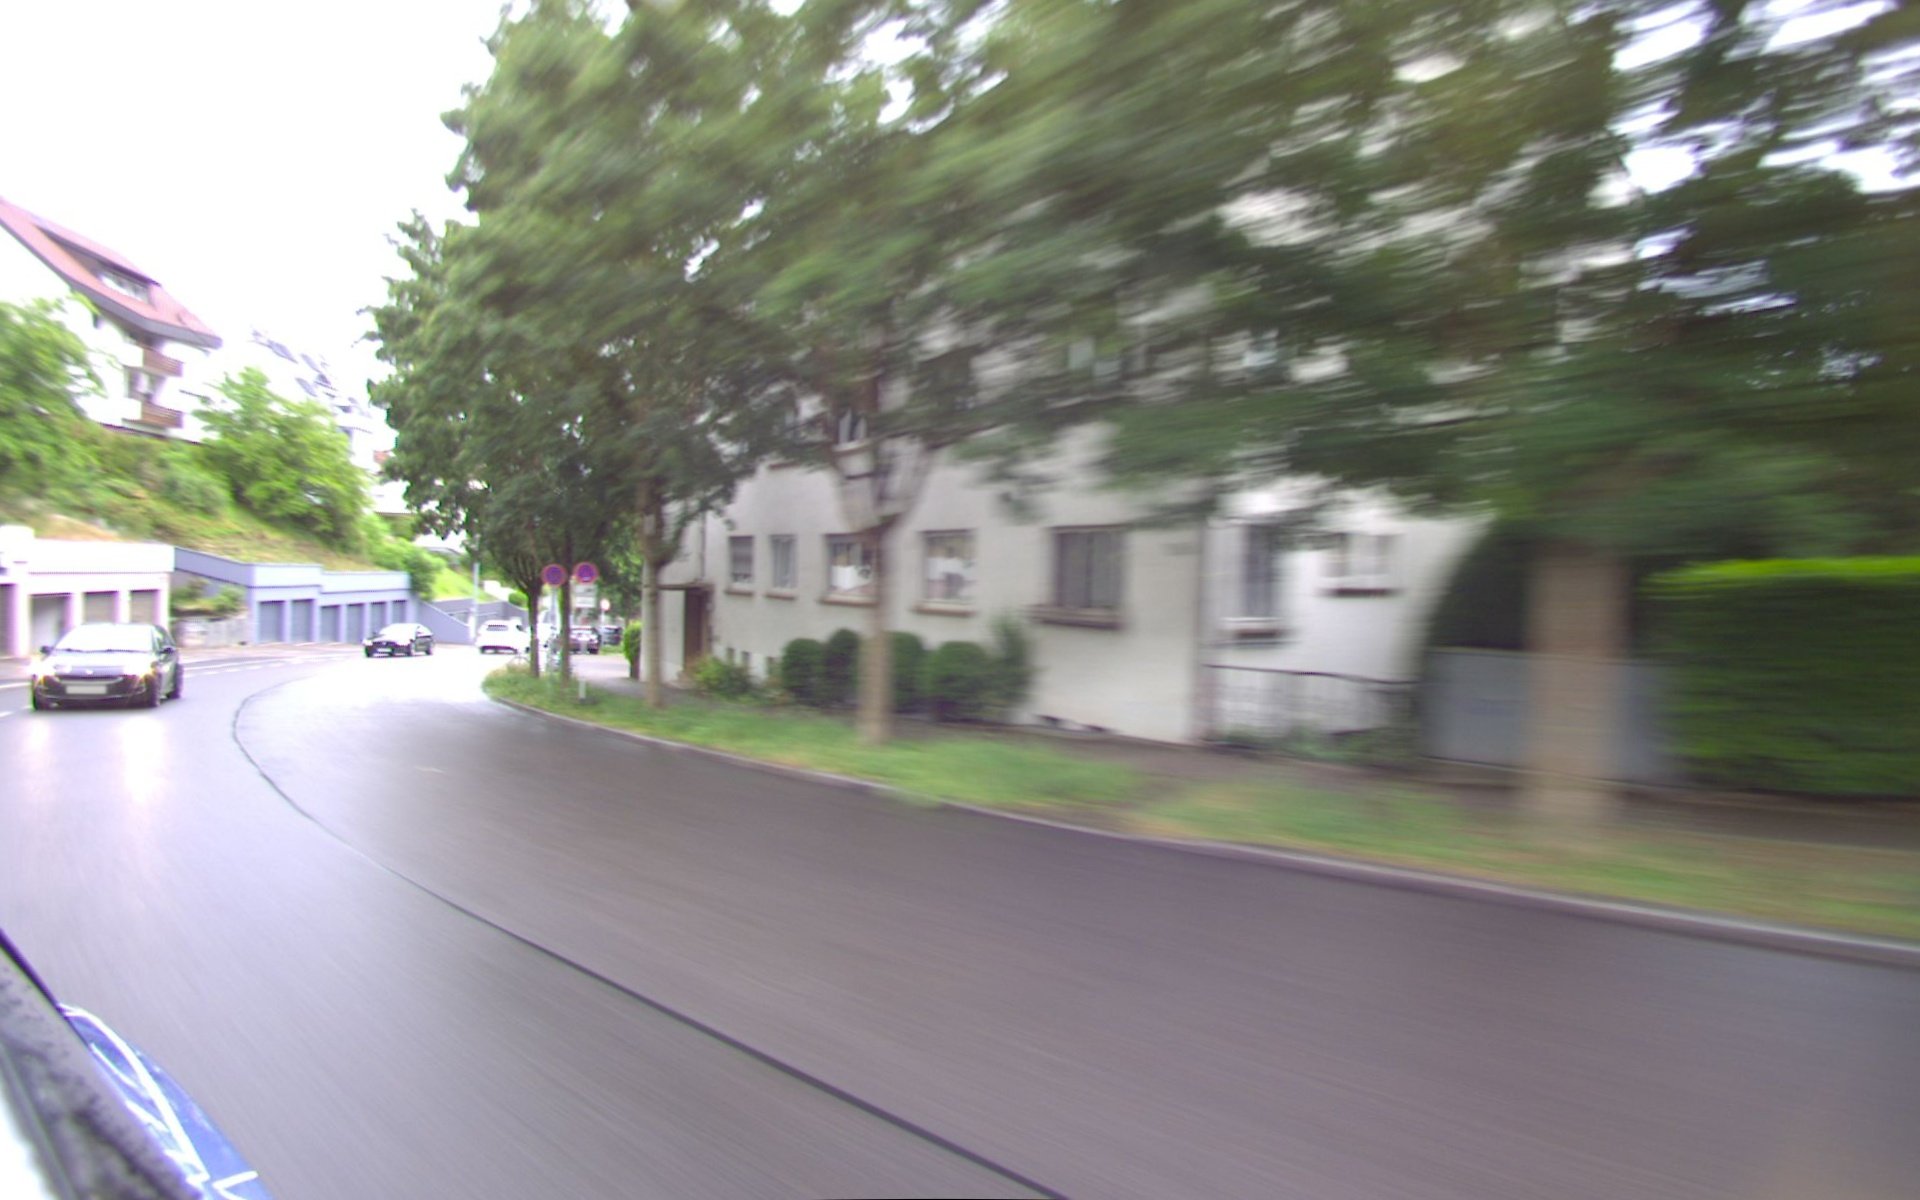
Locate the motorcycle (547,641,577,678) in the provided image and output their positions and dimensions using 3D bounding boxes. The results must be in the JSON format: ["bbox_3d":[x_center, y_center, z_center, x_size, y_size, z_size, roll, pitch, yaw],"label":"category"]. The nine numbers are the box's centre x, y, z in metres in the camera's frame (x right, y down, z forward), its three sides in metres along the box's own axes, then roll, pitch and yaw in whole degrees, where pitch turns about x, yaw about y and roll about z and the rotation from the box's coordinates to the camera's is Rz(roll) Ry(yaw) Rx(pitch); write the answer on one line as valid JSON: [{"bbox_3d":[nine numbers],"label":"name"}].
[{"bbox_3d":[-13.650,2.024,34.760,0.546,1.237,1.306,1,-2,-3],"label":"motorcycle"}]

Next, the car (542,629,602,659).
[{"bbox_3d":[-19.958,2.233,51.996,1.966,1.401,4.208,2,-2,-34],"label":"car"}]

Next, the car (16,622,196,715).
[{"bbox_3d":[-15.138,1.151,18.169,1.670,1.475,4.012,1,-2,-29],"label":"car"}]

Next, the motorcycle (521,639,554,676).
[{"bbox_3d":[-14.324,1.928,34.331,0.550,1.213,1.400,1,-2,-3],"label":"motorcycle"}]

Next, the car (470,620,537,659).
[{"bbox_3d":[-22.752,2.008,50.617,1.958,1.802,4.705,3,-4,-11],"label":"car"}]

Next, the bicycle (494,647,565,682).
[{"bbox_3d":[-13.524,2.021,31.831,1.936,1.068,0.756,2,-3,-32],"label":"bicycle"}]

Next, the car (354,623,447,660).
[{"bbox_3d":[-24.286,1.777,44.133,1.970,1.522,4.214,0,-2,-4],"label":"car"}]
